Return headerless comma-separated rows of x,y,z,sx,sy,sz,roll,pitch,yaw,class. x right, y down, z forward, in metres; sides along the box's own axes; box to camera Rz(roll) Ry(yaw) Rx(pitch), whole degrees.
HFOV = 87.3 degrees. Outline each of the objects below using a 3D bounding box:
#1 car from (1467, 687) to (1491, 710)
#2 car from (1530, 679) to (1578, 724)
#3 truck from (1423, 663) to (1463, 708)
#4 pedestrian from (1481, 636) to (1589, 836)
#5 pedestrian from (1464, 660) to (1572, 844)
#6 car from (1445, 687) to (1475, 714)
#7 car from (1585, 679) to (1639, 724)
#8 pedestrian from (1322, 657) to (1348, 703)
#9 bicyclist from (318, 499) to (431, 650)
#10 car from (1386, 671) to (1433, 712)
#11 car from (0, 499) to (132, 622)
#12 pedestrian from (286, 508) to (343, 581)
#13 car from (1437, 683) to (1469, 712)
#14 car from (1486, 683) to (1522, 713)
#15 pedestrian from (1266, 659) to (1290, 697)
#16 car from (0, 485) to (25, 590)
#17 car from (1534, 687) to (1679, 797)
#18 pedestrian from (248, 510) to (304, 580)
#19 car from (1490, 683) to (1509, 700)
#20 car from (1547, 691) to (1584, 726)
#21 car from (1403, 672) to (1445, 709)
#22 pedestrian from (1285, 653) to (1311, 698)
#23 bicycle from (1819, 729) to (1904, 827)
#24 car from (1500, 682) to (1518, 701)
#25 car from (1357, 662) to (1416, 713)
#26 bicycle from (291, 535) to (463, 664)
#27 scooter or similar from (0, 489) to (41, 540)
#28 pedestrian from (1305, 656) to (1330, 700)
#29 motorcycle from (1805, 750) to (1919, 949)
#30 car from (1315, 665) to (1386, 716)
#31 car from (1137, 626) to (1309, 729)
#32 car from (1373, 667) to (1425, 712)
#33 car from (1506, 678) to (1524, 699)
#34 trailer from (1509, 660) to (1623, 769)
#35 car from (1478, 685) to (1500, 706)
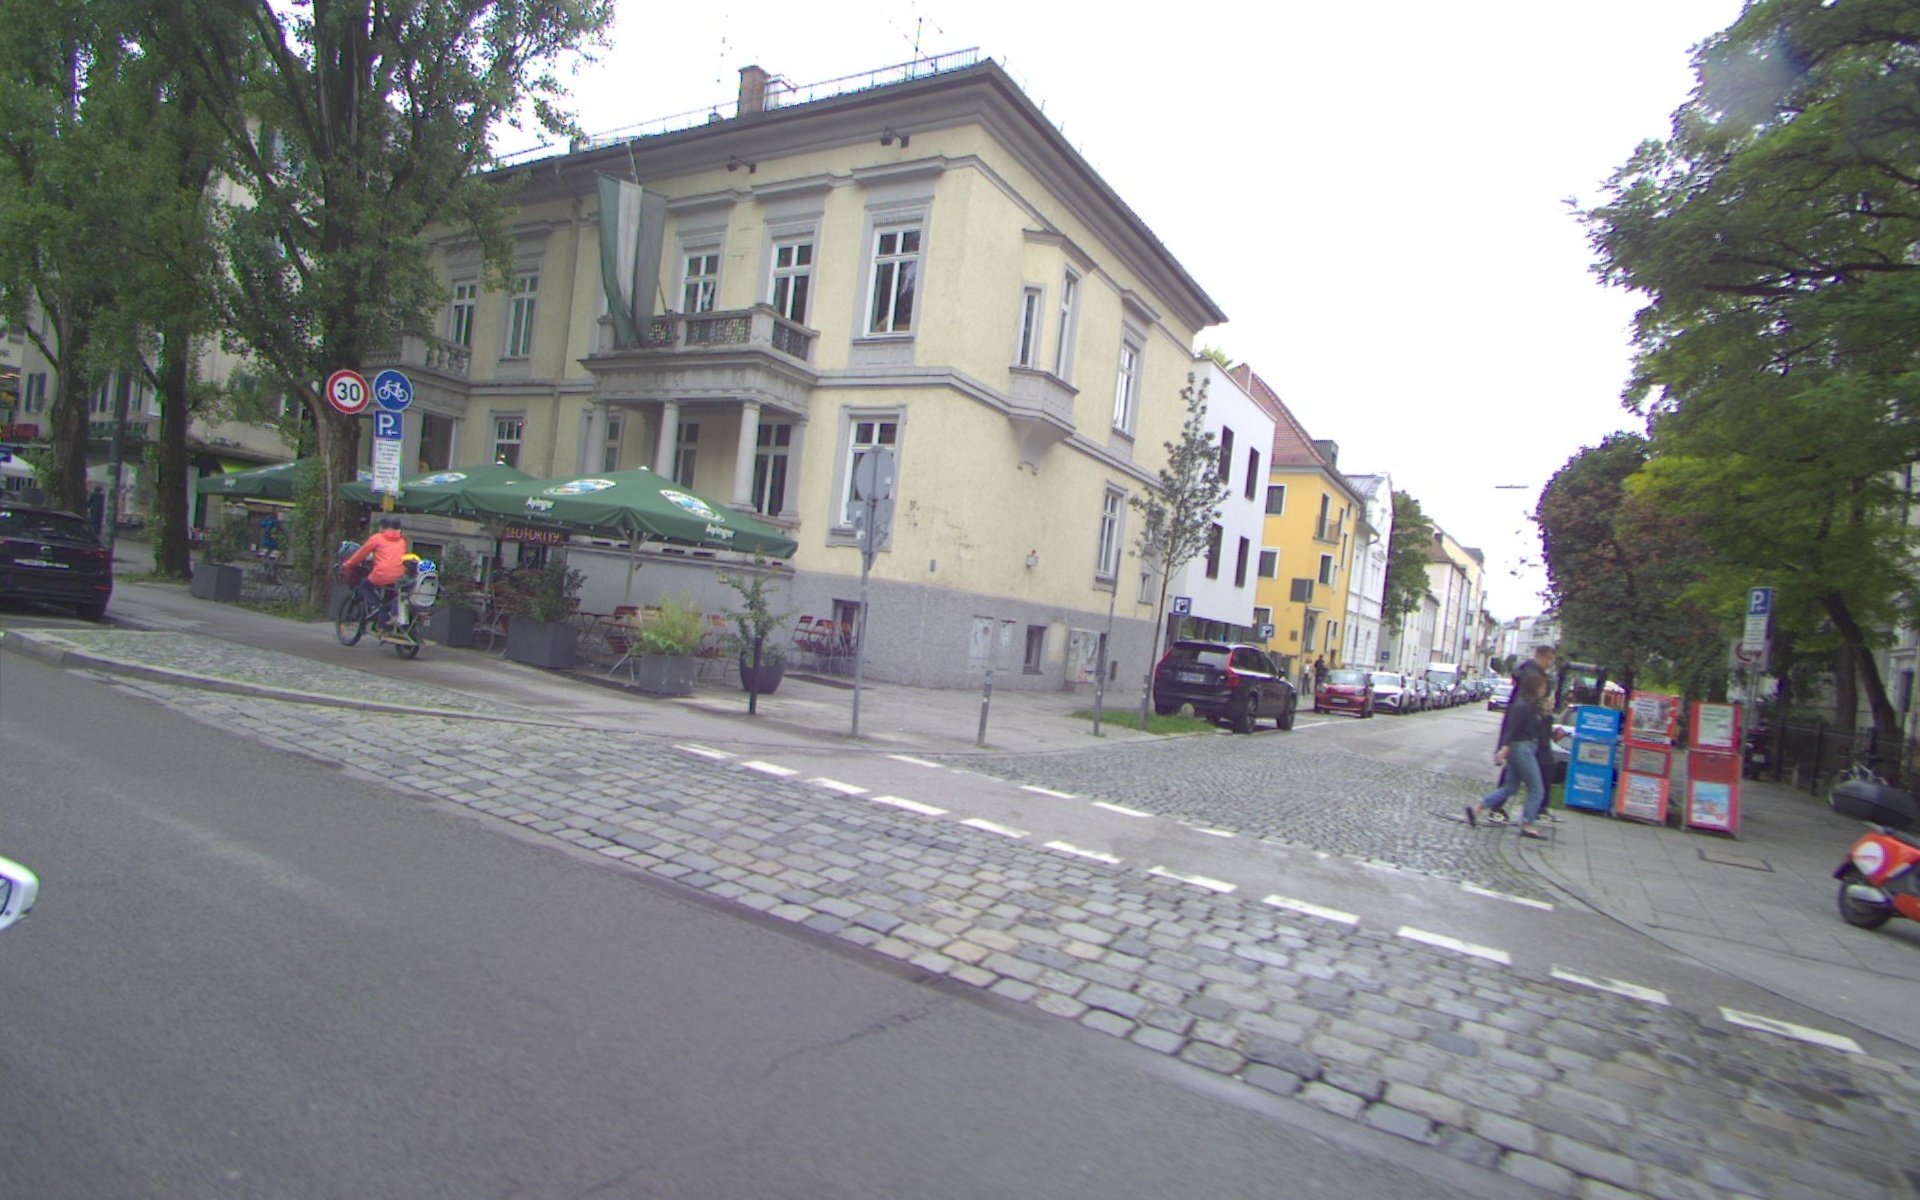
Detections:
45.368,8.612,87.972,1.672,1.706,3.997,6,-2,28,car
31.765,5.450,53.833,1.967,2.036,3.996,6,-2,31,car
30.200,5.337,62.802,1.845,2.499,3.997,7,-1,28,truck
6.196,1.440,10.890,0.788,1.971,0.840,7,-1,28,pedestrian
5.652,1.512,10.193,0.758,1.680,0.745,7,-1,31,pedestrian
37.049,7.410,74.507,1.672,1.706,3.997,6,-2,28,car
34.042,5.335,52.623,1.967,2.036,3.996,6,-2,31,car
15.874,3.389,42.546,0.752,1.815,0.873,7,0,26,pedestrian
-7.457,-0.321,12.822,0.870,1.788,0.768,7,1,31,bicyclist
22.003,4.482,49.149,1.672,1.706,3.997,6,-2,28,car
-13.371,-0.679,13.836,3.884,1.433,1.697,7,0,30,car
-17.591,-1.506,27.417,0.860,1.818,0.774,7,1,14,pedestrian
33.979,6.713,69.275,1.672,1.706,3.997,6,-2,28,car
32.830,5.906,60.771,1.672,1.485,3.997,6,-2,28,car
12.465,3.060,39.420,0.590,1.426,0.800,7,-1,28,pedestrian
-17.630,-1.290,16.669,4.372,1.657,1.807,7,-1,30,car
11.757,2.548,18.541,1.874,1.537,3.997,6,-2,30,car
-18.072,-1.441,26.571,0.862,1.698,0.798,7,1,31,pedestrian
62.634,10.610,116.833,1.672,1.706,3.997,6,-2,28,car
42.155,7.573,70.122,1.967,2.036,3.996,6,-2,31,car
24.698,4.804,53.484,1.672,1.706,3.997,6,-2,28,car
14.473,3.218,43.023,0.752,1.815,0.873,7,0,26,pedestrian
14.656,2.850,16.396,0.551,1.388,1.944,7,-1,32,bicycle
67.701,11.287,124.162,1.672,2.077,3.997,7,-2,28,car
17.213,3.529,40.490,1.672,1.706,3.997,6,-2,28,car
-7.438,-0.033,12.793,2.408,1.367,0.772,7,3,31,bicycle
-29.874,-2.723,31.583,2.451,1.394,0.637,8,2,28,scooter or similar
15.340,3.343,43.155,0.752,1.815,0.873,7,0,26,pedestrian
6.859,1.793,6.893,0.505,1.236,1.961,7,0,6,motorcycle
13.339,3.089,34.271,1.672,1.416,3.997,6,-2,28,car
5.661,1.703,21.219,1.940,1.721,4.420,6,-3,35,car
19.682,4.007,45.003,1.672,1.706,3.997,6,-2,28,car
71.125,11.373,129.026,1.672,2.446,3.997,7,-1,28,car
14.224,2.653,23.812,1.874,2.052,5.250,7,-1,30,trailer
51.416,9.274,97.742,1.672,1.706,3.997,6,-2,28,car
